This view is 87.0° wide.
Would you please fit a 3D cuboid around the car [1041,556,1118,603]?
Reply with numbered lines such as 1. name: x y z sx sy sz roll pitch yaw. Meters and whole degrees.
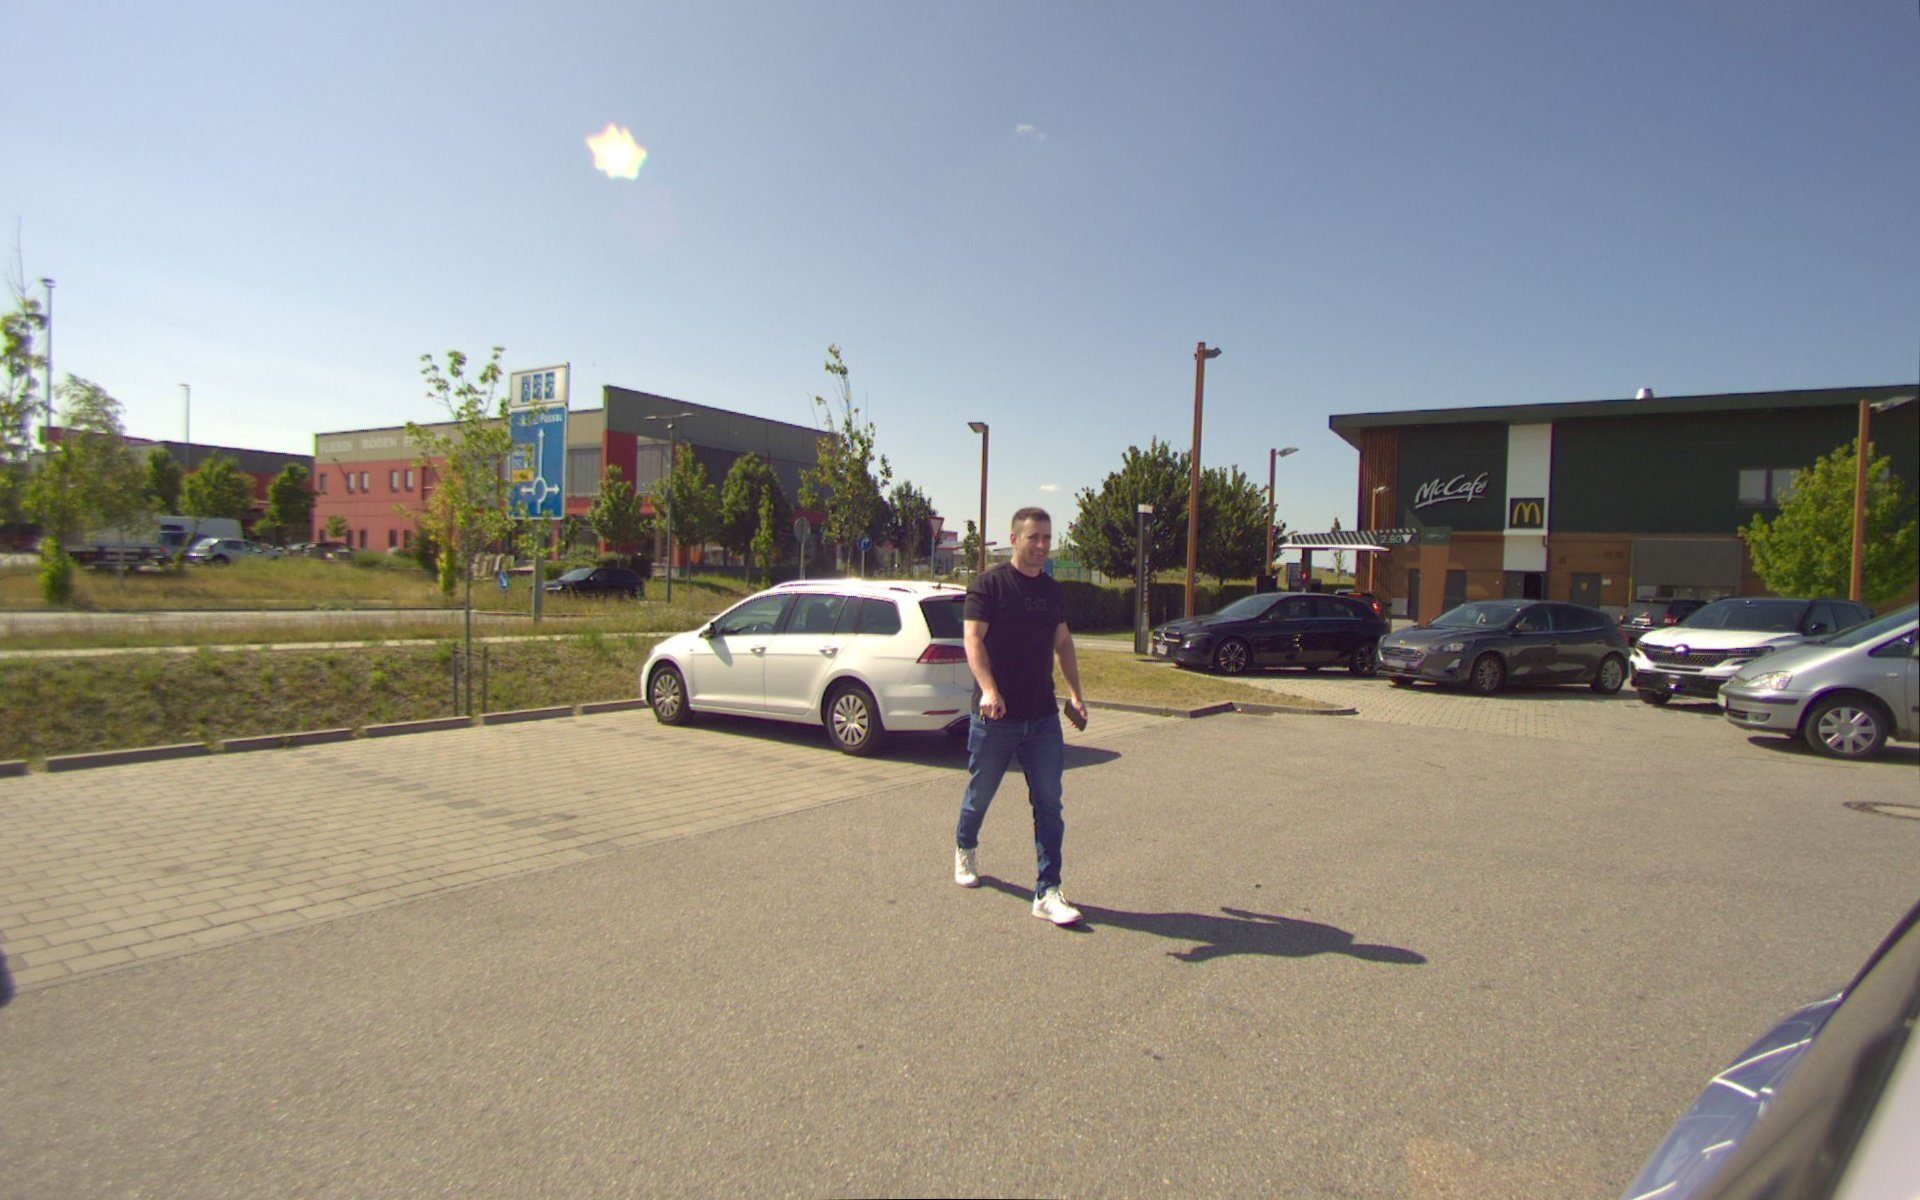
1. car: 6.157 -0.994 51.521 1.984 2.224 5.050 2 1 31

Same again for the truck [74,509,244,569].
1. truck: -43.236 -3.228 54.895 1.939 2.849 6.983 2 1 30

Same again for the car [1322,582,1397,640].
1. car: 13.274 0.317 33.491 1.977 1.712 4.199 3 2 25

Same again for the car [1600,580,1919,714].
1. car: 11.613 0.638 14.540 4.118 1.675 1.980 2 1 -21

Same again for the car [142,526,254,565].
1. car: -40.547 -2.882 53.981 1.939 1.878 4.358 2 1 30

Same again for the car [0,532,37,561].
1. car: -66.349 -3.698 69.238 1.939 1.878 4.358 2 1 30

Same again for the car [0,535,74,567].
1. car: -59.837 -3.153 64.741 1.939 1.878 4.358 2 1 30

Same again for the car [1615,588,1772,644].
1. car: 23.830 0.508 32.894 4.373 1.622 1.967 2 1 -20

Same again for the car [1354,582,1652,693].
1. car: 8.618 0.577 16.089 4.119 1.545 1.980 2 1 -23

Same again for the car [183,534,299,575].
1. car: -36.287 -2.277 51.190 1.939 1.878 4.358 2 1 30

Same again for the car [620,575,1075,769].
1. car: -1.249 0.520 9.956 4.457 1.487 1.808 1 1 38

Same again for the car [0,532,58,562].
1. car: -62.776 -3.526 66.891 1.939 1.878 4.358 2 1 30

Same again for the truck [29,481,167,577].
1. truck: -34.822 -2.802 40.809 6.792 3.524 2.732 3 1 36

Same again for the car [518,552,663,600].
1. car: -13.928 -0.884 38.307 4.726 1.645 1.996 1 1 -44

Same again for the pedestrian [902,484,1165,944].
1. pedestrian: 0.312 0.445 4.641 0.712 1.832 0.994 1 0 -36

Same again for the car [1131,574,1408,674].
1. car: 5.436 0.404 17.964 4.241 1.545 1.980 2 1 -15

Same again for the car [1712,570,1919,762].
1. car: 10.336 0.663 9.801 4.644 1.770 1.814 2 1 30

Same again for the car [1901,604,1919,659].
1. car: 29.299 0.949 29.060 3.867 1.533 1.718 1 1 -20

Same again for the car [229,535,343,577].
1. car: -33.577 -2.166 50.543 1.939 1.878 4.358 2 1 30
